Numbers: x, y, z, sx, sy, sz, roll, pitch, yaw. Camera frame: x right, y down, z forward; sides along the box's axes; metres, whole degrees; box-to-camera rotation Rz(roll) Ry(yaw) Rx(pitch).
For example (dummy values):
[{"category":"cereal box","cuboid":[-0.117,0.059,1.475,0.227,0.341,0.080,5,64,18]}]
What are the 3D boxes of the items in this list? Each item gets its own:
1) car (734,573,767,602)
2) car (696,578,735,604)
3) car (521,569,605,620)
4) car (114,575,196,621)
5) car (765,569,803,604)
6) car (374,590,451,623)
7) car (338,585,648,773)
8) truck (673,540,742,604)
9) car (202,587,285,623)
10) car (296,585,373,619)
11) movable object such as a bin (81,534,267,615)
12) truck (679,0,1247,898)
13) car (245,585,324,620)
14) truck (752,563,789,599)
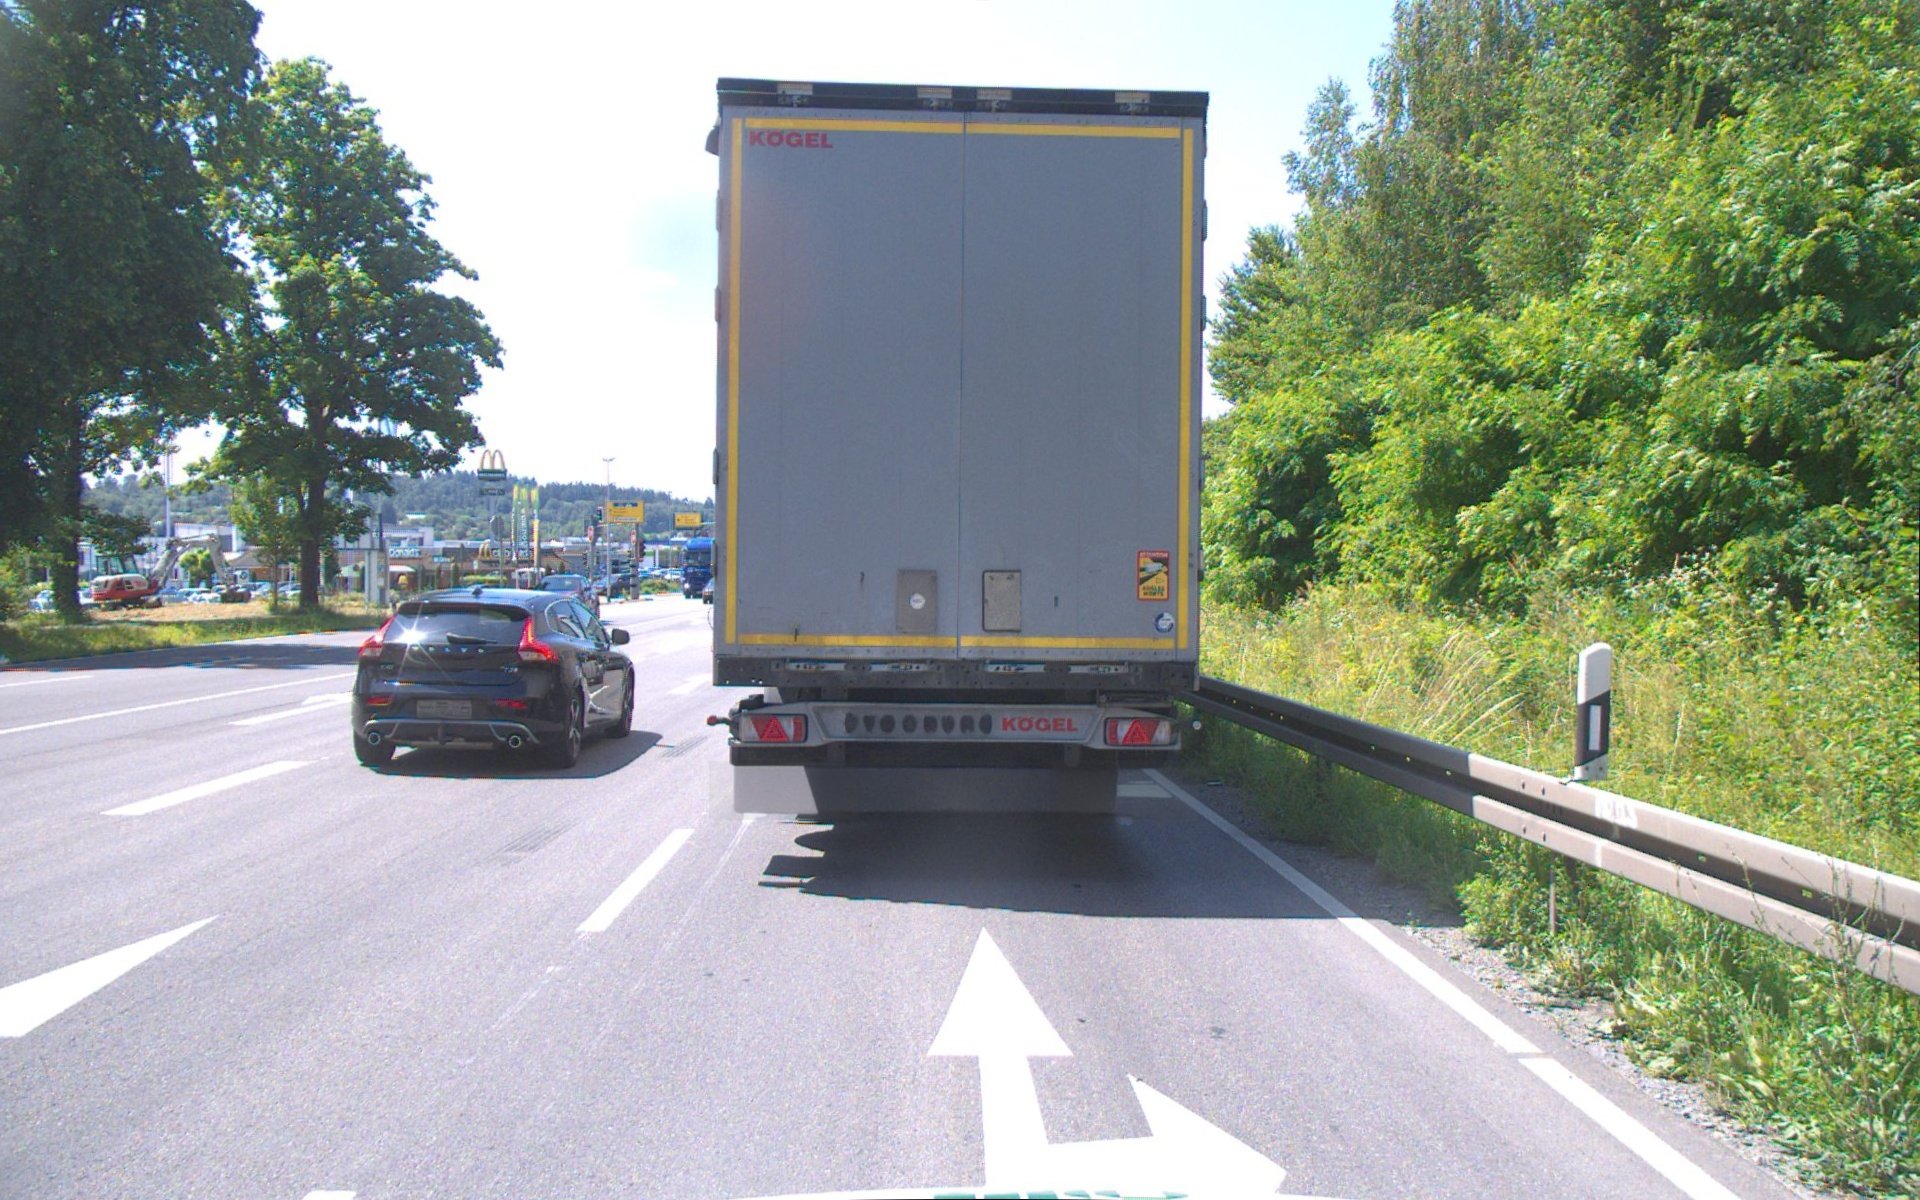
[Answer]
[{"category":"car","cuboid":[-13.288,-0.779,105.148,1.685,1.783,3.855,1,0,-2]},{"category":"car","cuboid":[-13.658,-0.482,92.637,1.731,1.410,3.998,1,0,-3]},{"category":"car","cuboid":[-12.383,-0.180,51.792,1.865,1.535,3.763,0,0,-2]},{"category":"car","cuboid":[-37.502,-0.097,77.039,3.925,2.049,1.990,1,0,39]},{"category":"car","cuboid":[-10.611,-0.836,99.968,1.953,2.049,3.999,1,0,-1]},{"category":"car","cuboid":[-28.388,0.305,85.685,3.920,1.646,1.833,1,0,36]},{"category":"car","cuboid":[-3.957,0.612,14.766,1.652,1.423,4.401,0,0,-2]},{"category":"truck","cuboid":[-17.857,-1.928,118.258,2.908,4.249,16.569,0,1,-2]},{"category":"car","cuboid":[-34.716,0.215,80.085,3.920,1.680,1.993,1,1,36]},{"category":"car","cuboid":[-31.861,0.106,84.178,3.920,1.646,1.833,1,0,36]},{"category":"movable object such as a bin","cuboid":[-34.234,-1.109,72.278,2.994,3.356,6.761,1,1,38]},{"category":"truck","cuboid":[-0.094,-0.889,16.478,2.700,4.720,16.651,1,0,-1]},{"category":"car","cuboid":[-33.505,0.124,81.959,3.920,1.646,1.833,1,0,36]},{"category":"truck","cuboid":[-18.434,-1.858,161.664,2.789,3.410,11.476,0,0,-3]}]
